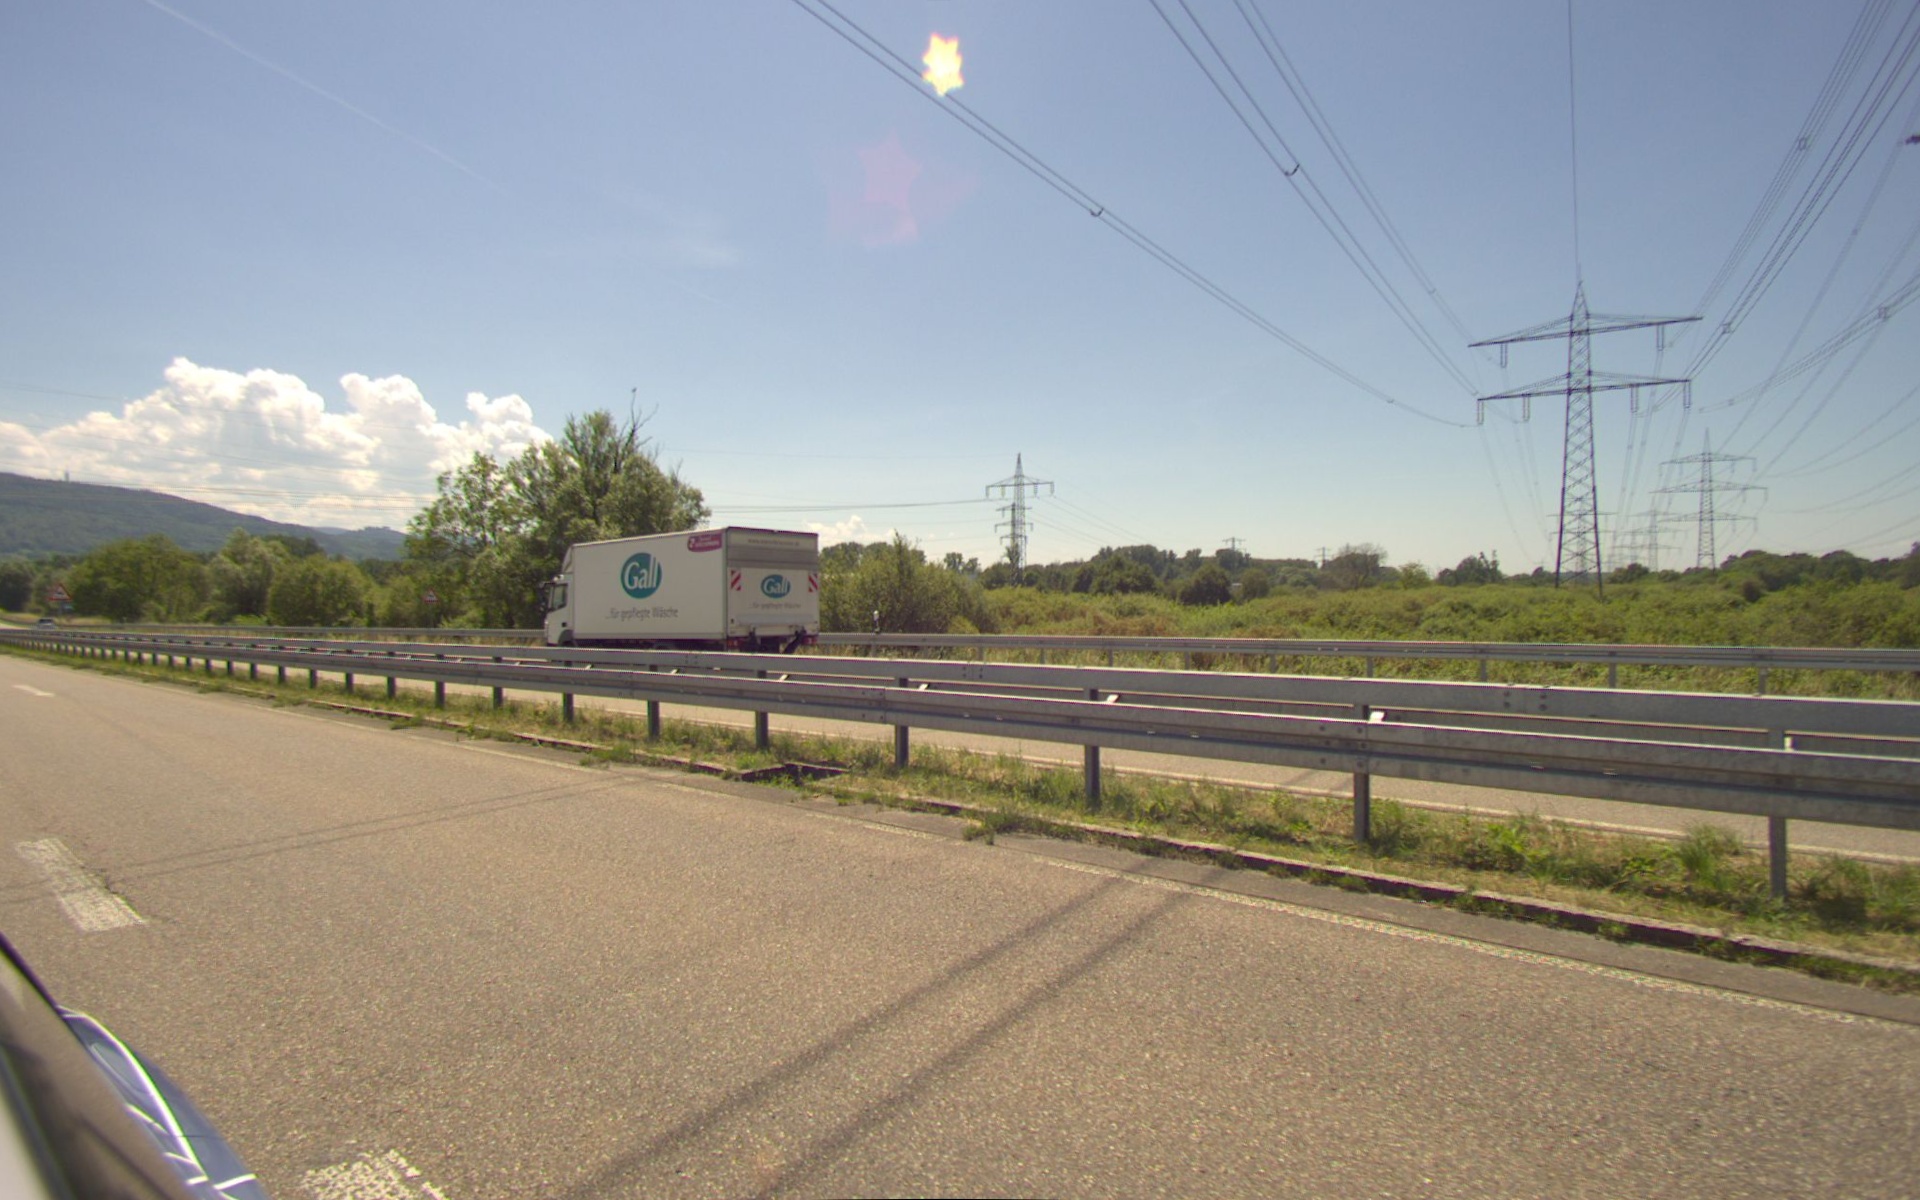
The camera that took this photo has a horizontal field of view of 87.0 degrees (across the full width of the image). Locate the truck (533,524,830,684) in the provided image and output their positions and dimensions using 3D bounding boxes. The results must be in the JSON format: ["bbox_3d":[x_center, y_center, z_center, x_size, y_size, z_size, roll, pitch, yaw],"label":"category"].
[{"bbox_3d":[-6.882,0.154,24.082,8.401,3.217,2.690,-1,-1,42],"label":"truck"}]

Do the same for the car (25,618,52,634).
[{"bbox_3d":[-86.871,2.400,95.354,3.700,1.460,1.516,-1,-1,42],"label":"car"}]
